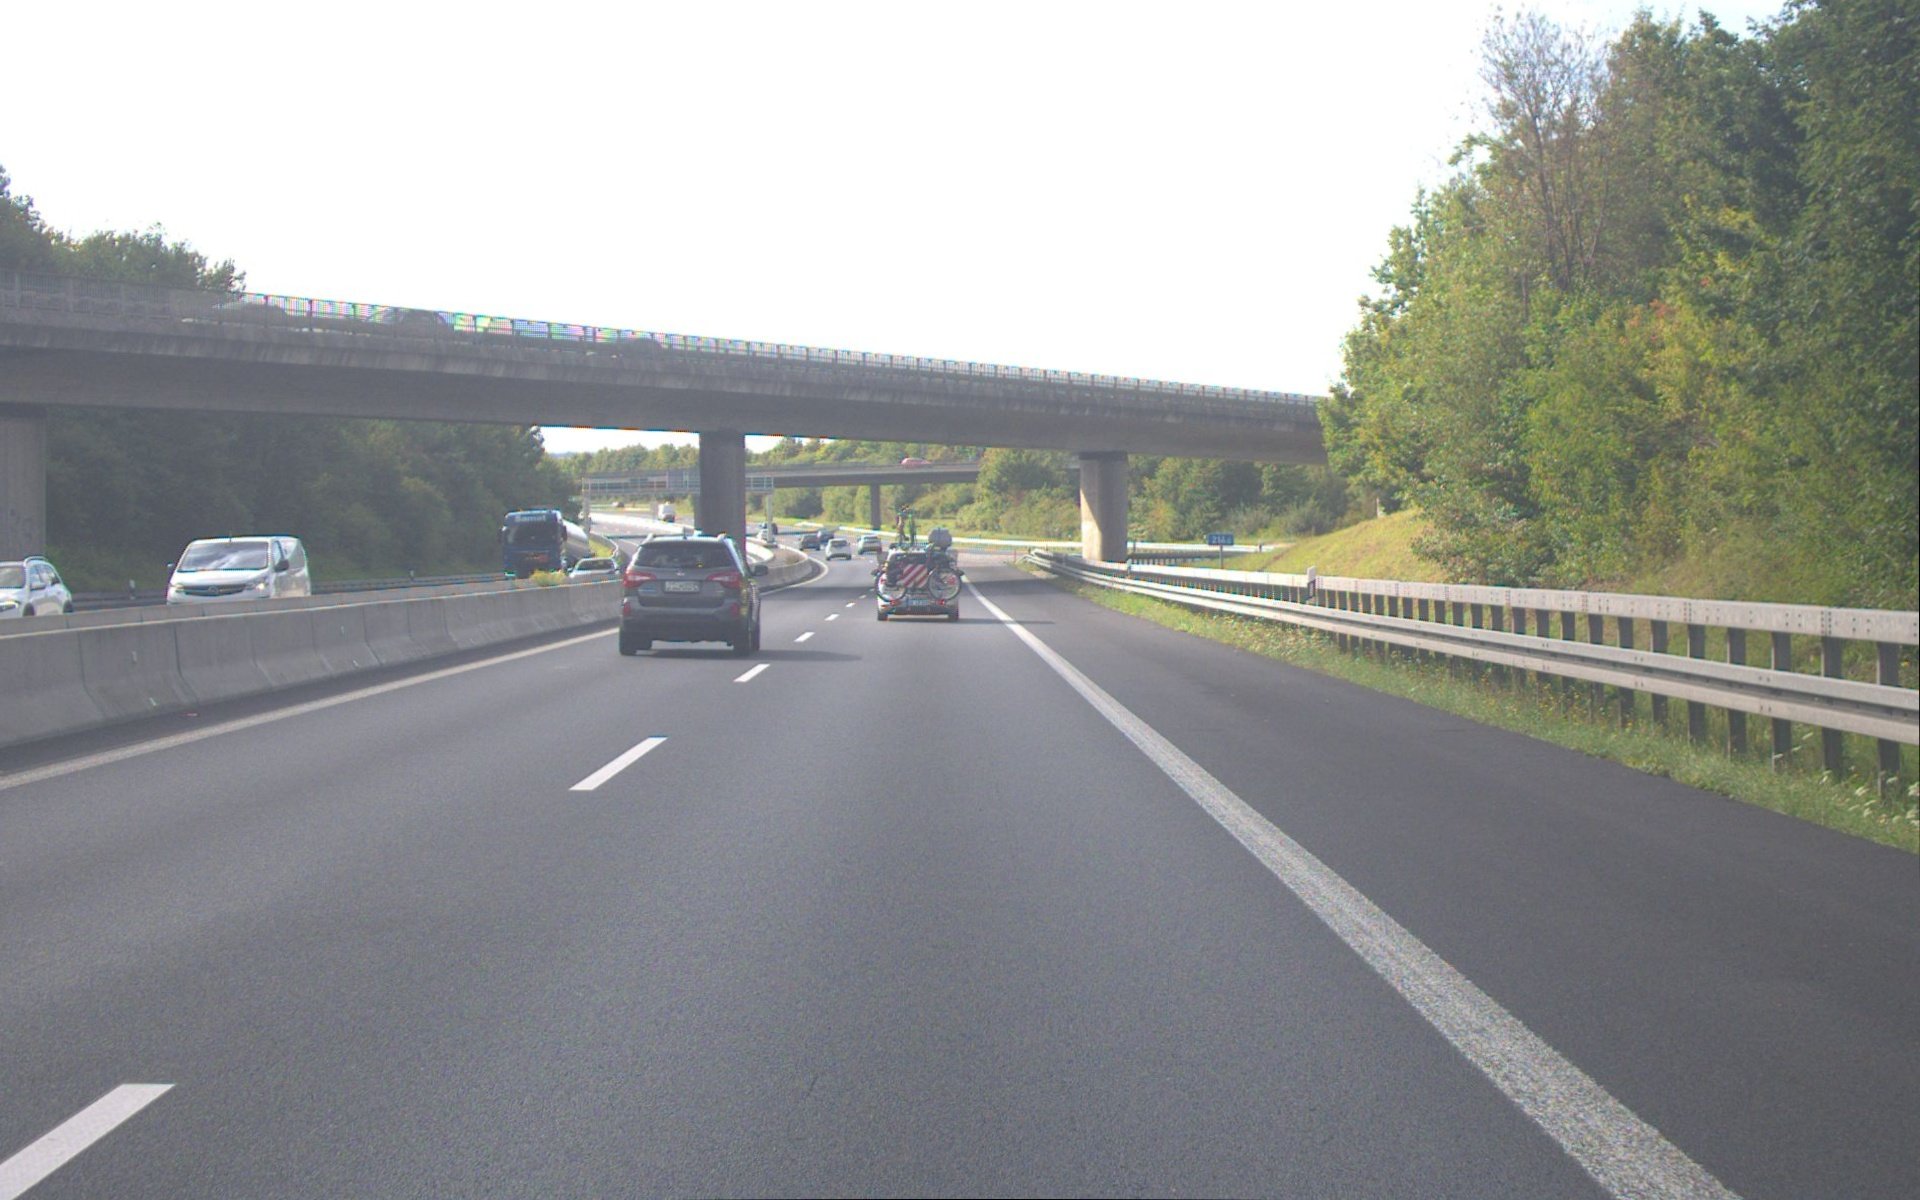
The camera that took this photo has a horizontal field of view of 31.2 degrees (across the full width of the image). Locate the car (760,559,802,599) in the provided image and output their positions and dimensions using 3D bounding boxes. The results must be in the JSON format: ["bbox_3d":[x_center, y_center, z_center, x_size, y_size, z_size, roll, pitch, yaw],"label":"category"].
[{"bbox_3d":[-9.258,-1.090,177.976,1.993,2.007,4.000,-2,1,-1],"label":"car"}]

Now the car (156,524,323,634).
[{"bbox_3d":[-13.197,-0.409,63.271,1.993,1.890,5.189,-2,1,-1],"label":"car"}]

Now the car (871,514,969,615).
[{"bbox_3d":[-0.844,-0.775,74.375,1.993,2.073,4.000,-2,1,0],"label":"car"}]

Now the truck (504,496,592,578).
[{"bbox_3d":[-17.979,-2.734,150.579,2.676,3.434,9.829,-2,1,-1],"label":"truck"}]

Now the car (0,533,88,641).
[{"bbox_3d":[-17.529,-0.242,62.773,1.993,1.890,4.823,-2,1,-1],"label":"car"}]

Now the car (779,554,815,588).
[{"bbox_3d":[-9.963,-1.796,210.230,1.993,2.007,4.000,-2,1,-1],"label":"car"}]

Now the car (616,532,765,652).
[{"bbox_3d":[-3.836,-0.137,49.420,1.750,1.624,3.609,-2,1,1],"label":"car"}]

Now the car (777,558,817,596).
[{"bbox_3d":[-8.982,-1.258,189.199,1.993,2.007,4.000,-2,1,-1],"label":"car"}]
